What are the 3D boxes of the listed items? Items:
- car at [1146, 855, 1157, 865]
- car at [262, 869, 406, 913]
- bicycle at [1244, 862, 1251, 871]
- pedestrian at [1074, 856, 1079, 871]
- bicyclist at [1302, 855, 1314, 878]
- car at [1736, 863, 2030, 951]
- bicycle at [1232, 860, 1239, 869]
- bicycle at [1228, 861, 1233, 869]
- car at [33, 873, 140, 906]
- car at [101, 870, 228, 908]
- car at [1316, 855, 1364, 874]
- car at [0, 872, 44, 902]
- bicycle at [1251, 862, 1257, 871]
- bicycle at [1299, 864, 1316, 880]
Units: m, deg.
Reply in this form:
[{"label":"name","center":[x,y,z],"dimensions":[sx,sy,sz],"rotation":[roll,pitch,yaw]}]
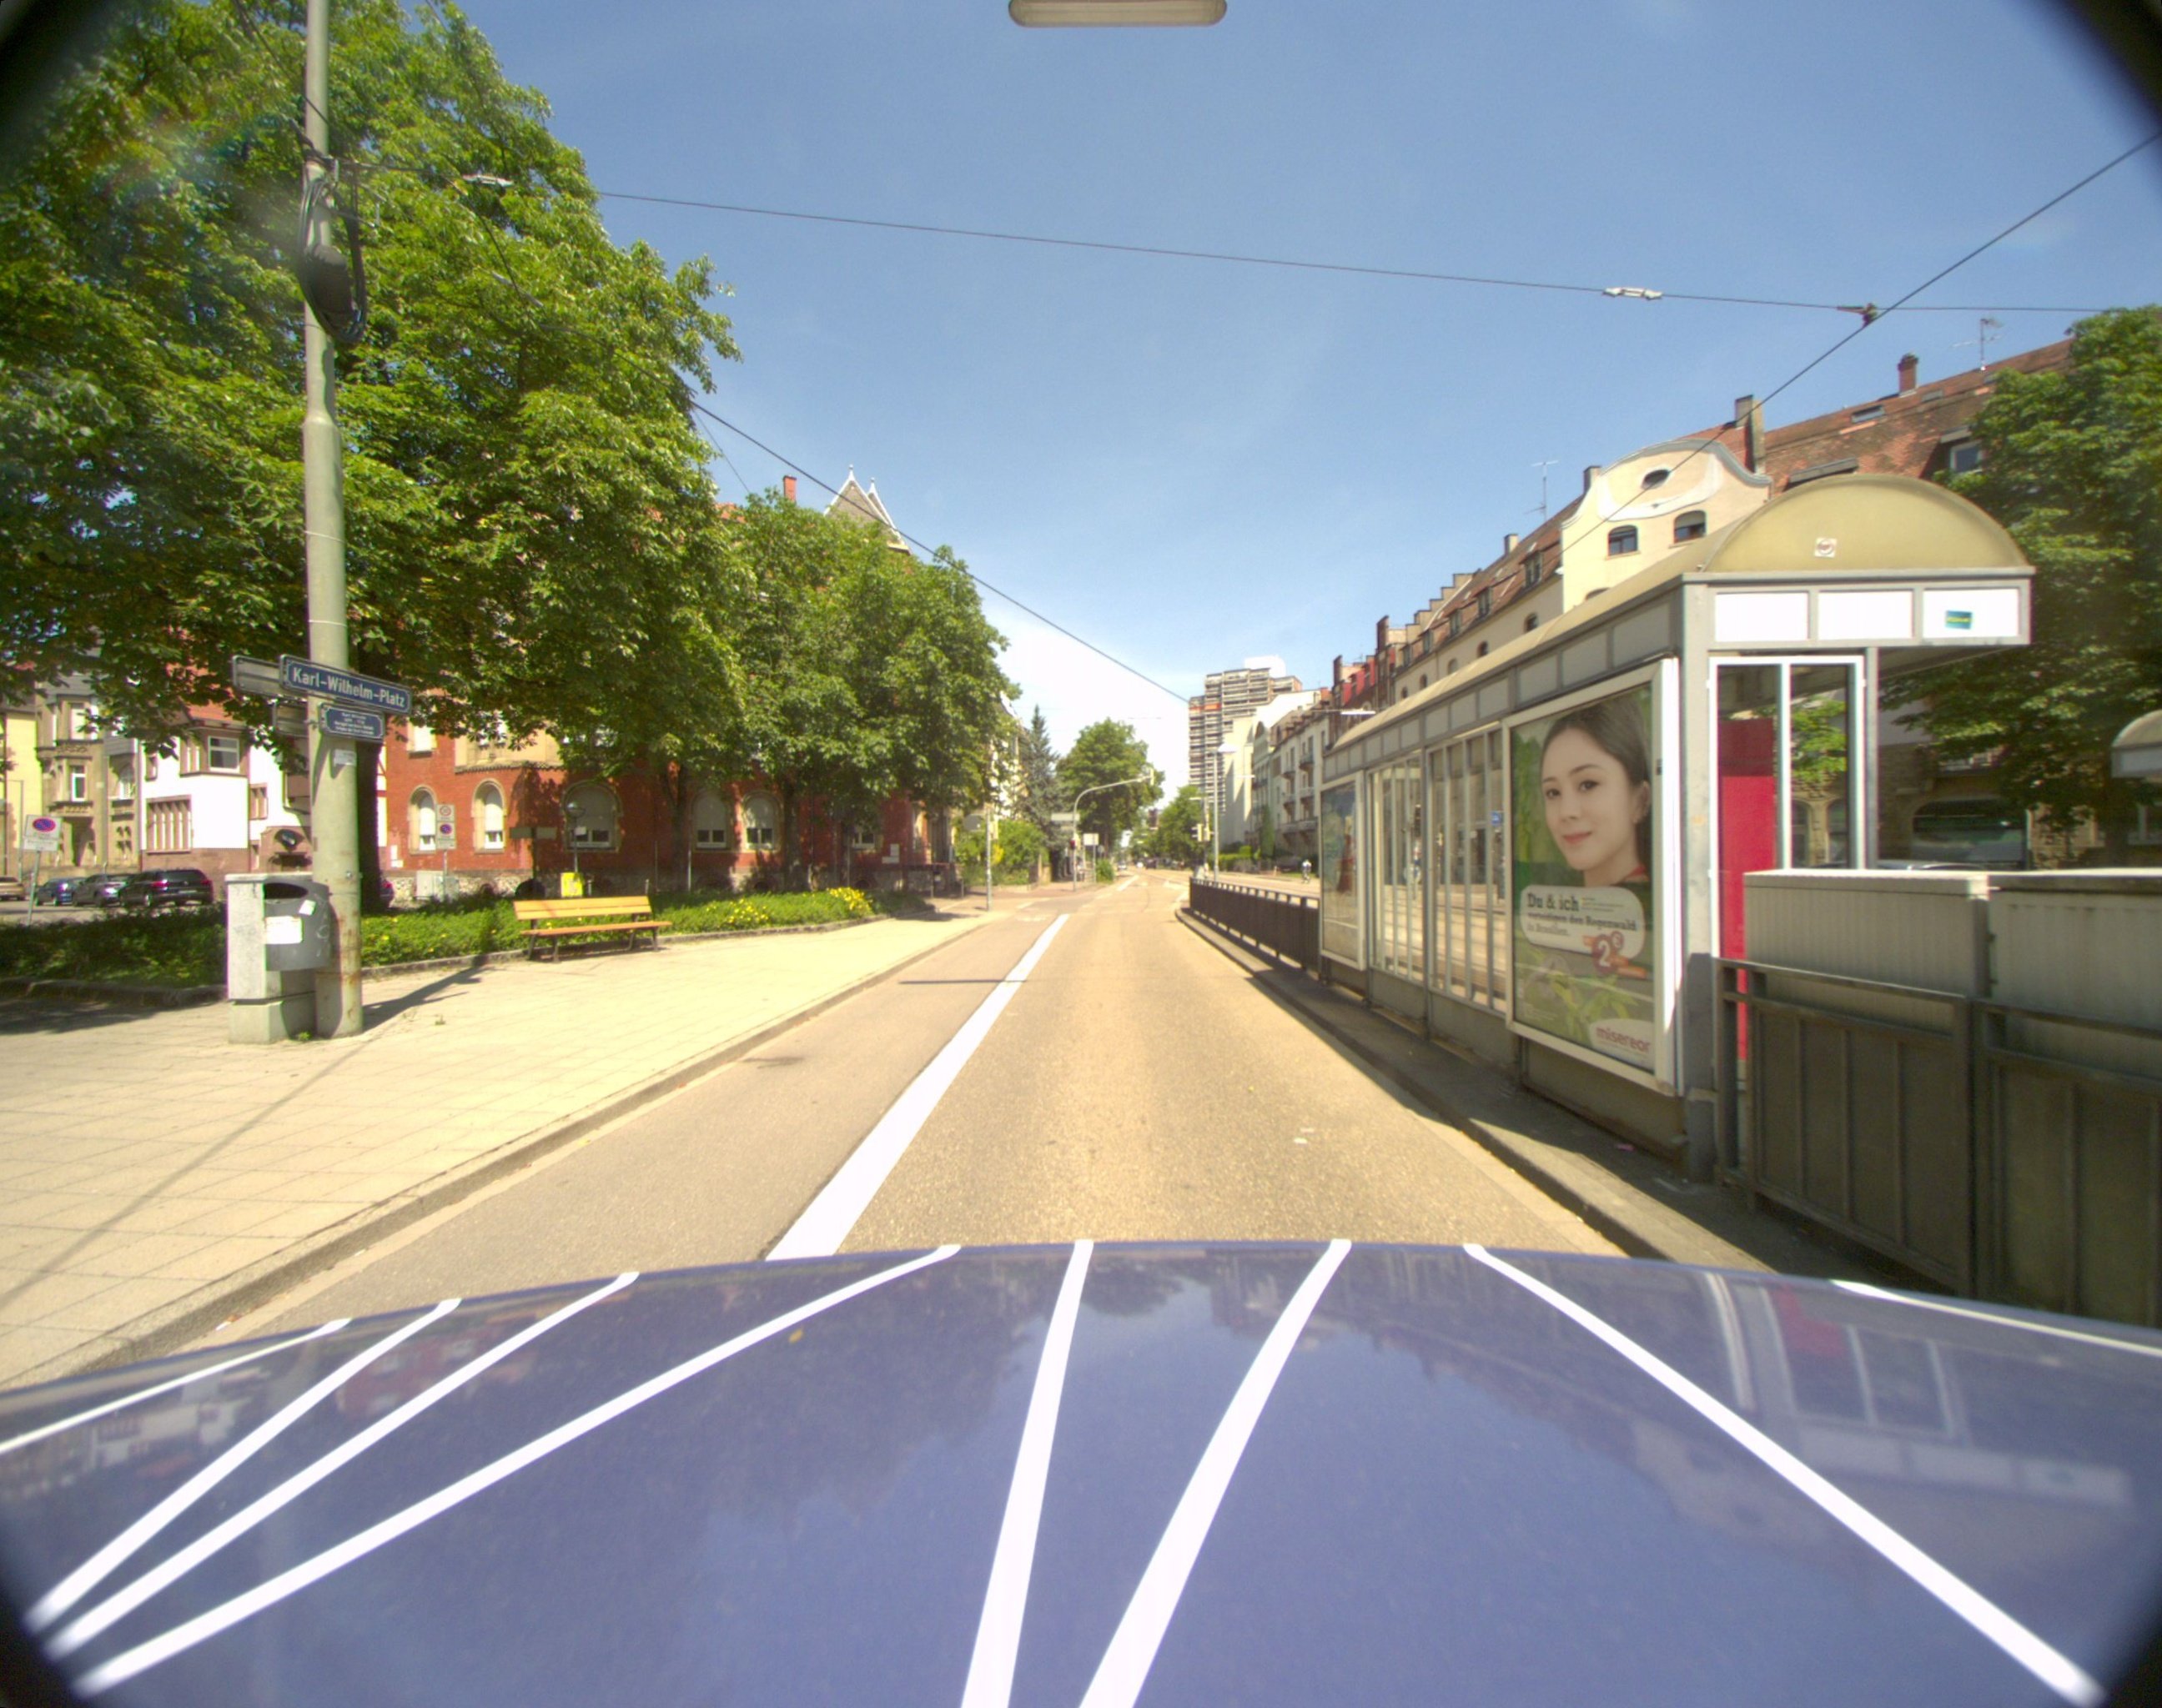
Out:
[{"label":"car","center":[13.910,1.093,149.735],"dimensions":[1.848,1.926,4.823],"rotation":[1,0,2]},{"label":"car","center":[-27.457,1.343,27.934],"dimensions":[4.748,1.433,1.908],"rotation":[-1,0,20]},{"label":"bicycle","center":[18.710,1.403,85.360],"dimensions":[0.463,0.943,1.954],"rotation":[-1,0,1]},{"label":"pedestrian","center":[-0.461,1.075,86.746],"dimensions":[0.547,1.683,0.755],"rotation":[0,1,1]},{"label":"bicyclist","center":[16.367,0.896,54.784],"dimensions":[0.609,1.565,0.585],"rotation":[-1,1,1]},{"label":"car","center":[14.624,0.880,14.191],"dimensions":[1.544,1.331,3.718],"rotation":[-1,0,0]},{"label":"bicycle","center":[19.004,1.286,93.382],"dimensions":[0.493,1.090,2.047],"rotation":[-1,0,1]},{"label":"bicycle","center":[19.227,1.376,97.901],"dimensions":[0.290,1.040,1.900],"rotation":[-1,0,1]},{"label":"car","center":[-49.071,1.743,37.497],"dimensions":[4.605,1.456,1.908],"rotation":[-1,0,20]},{"label":"car","center":[-40.302,1.518,33.395],"dimensions":[5.477,1.523,1.991],"rotation":[-1,0,22]},{"label":"car","center":[21.174,0.872,62.180],"dimensions":[3.361,1.463,1.530],"rotation":[-2,0,5]},{"label":"car","center":[-59.318,1.811,41.570],"dimensions":[4.392,1.547,1.908],"rotation":[-1,0,21]},{"label":"bicycle","center":[18.475,1.330,81.062],"dimensions":[0.253,0.911,1.615],"rotation":[-1,0,1]},{"label":"bicycle","center":[16.382,1.277,54.946],"dimensions":[0.629,1.150,1.978],"rotation":[-1,0,1]}]
